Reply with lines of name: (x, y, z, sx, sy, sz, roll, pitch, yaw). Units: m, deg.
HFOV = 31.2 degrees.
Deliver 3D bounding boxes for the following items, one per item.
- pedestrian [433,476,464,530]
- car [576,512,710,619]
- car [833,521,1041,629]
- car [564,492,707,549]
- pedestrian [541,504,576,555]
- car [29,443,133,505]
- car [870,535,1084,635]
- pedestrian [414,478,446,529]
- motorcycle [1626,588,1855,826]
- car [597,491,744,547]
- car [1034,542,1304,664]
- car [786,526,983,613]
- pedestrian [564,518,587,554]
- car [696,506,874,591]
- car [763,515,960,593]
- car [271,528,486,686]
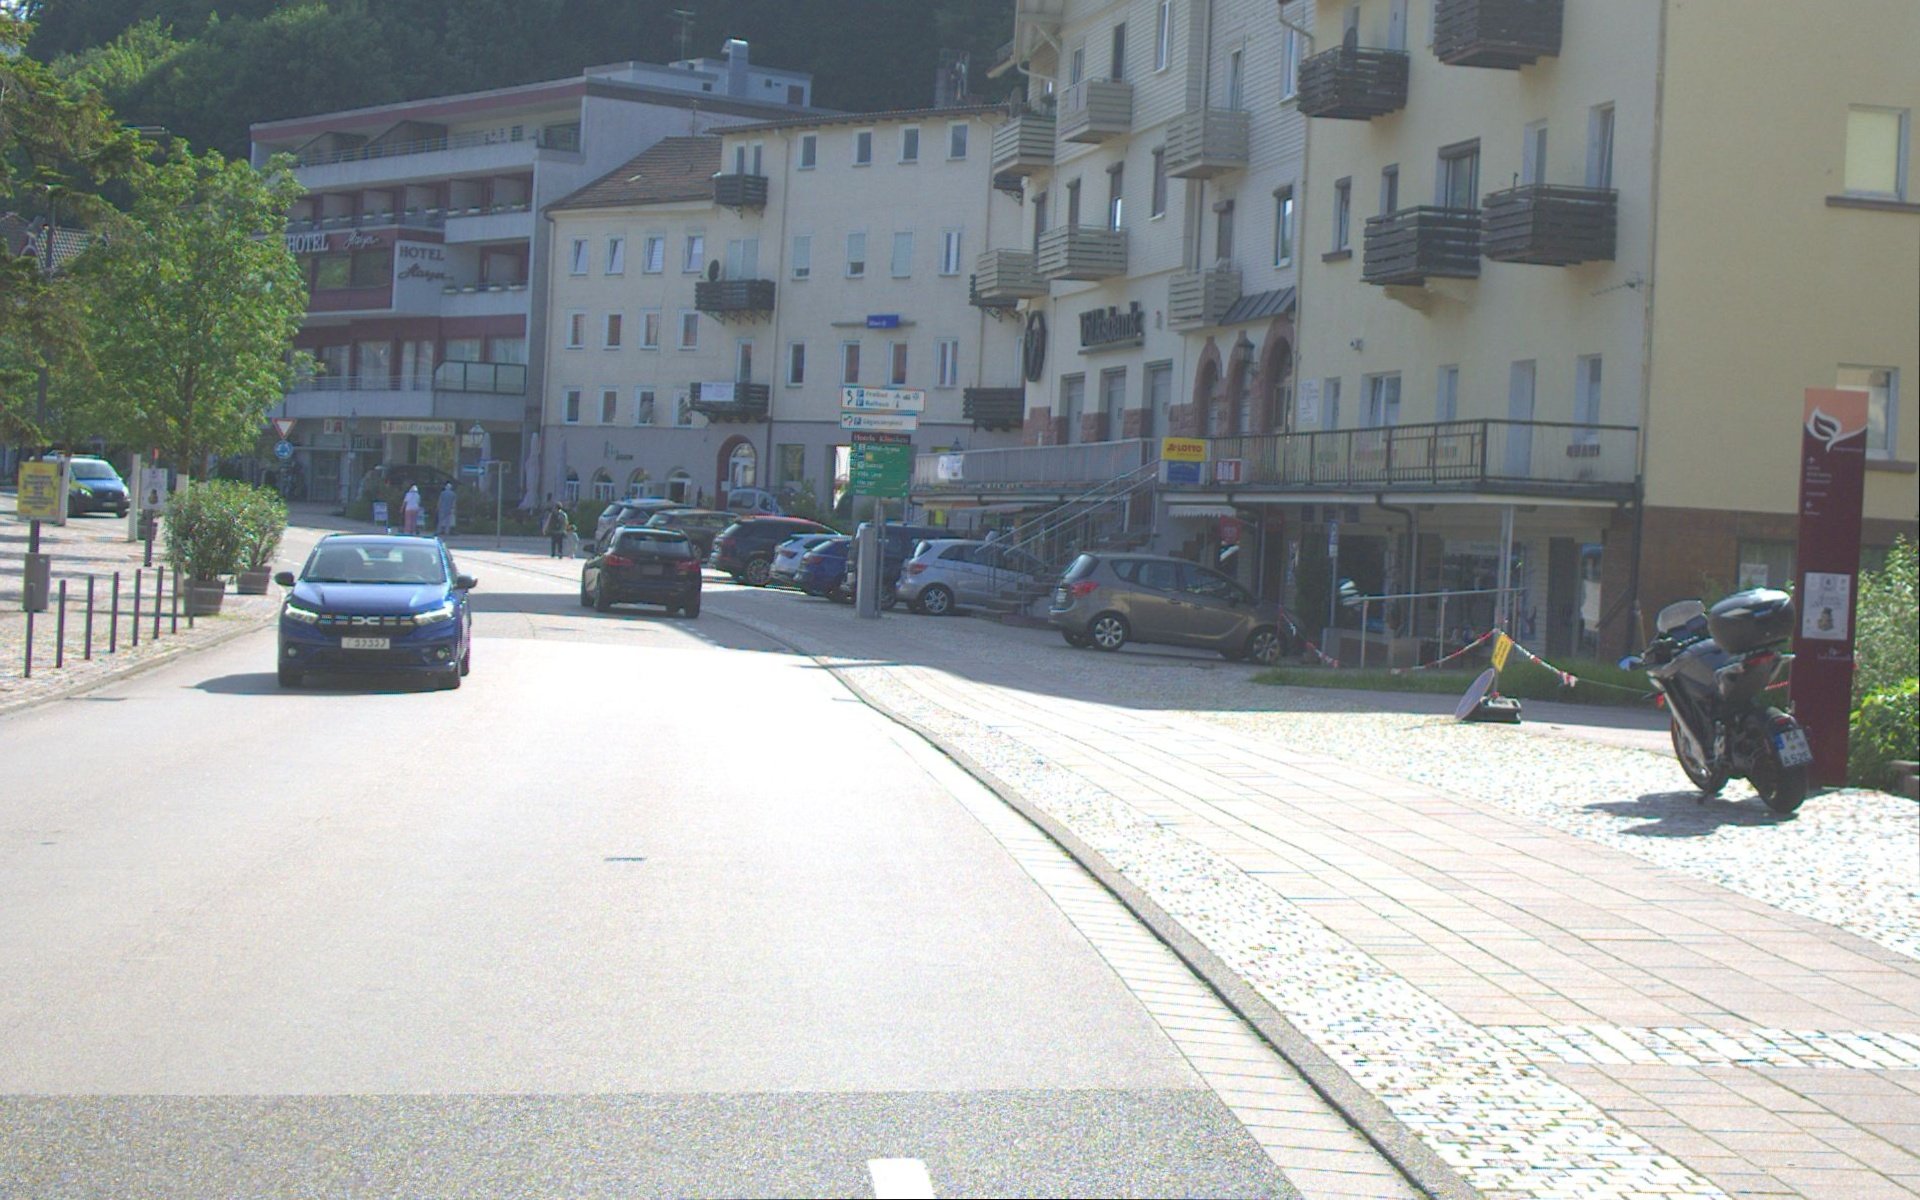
pedestrian: (-16.793, -3.190, 112.791, 0.669, 1.722, 0.707, 3, 1, -33)
car: (-5.613, -0.630, 60.478, 1.726, 1.569, 3.755, 4, 3, -14)
car: (-0.497, -0.526, 71.449, 3.908, 1.798, 1.858, 6, 0, -10)
car: (-9.732, -2.397, 103.221, 3.861, 1.607, 1.773, 0, 4, -30)
pedestrian: (-11.394, -2.000, 97.554, 0.735, 1.437, 0.633, 0, 3, -38)
car: (-28.964, -4.161, 113.173, 1.854, 1.946, 5.018, 1, 2, -32)
car: (0.321, -0.309, 68.927, 3.908, 1.583, 1.775, 6, 1, -10)
pedestrian: (-17.250, -3.138, 111.922, 0.757, 1.588, 0.628, 3, 1, -33)
motorcycle: (4.589, 0.598, 20.362, 0.697, 1.292, 2.212, 0, 1, -4)
car: (-8.458, -2.366, 100.427, 3.861, 1.544, 1.773, 0, 4, -30)
car: (3.346, 0.044, 55.320, 3.858, 1.549, 1.761, 5, 1, -13)
car: (-1.638, -0.660, 74.137, 3.908, 1.456, 1.736, 5, 1, -10)
pedestrian: (-10.943, -1.815, 97.888, 0.417, 0.998, 0.531, 0, 3, -38)
car: (-4.365, -1.289, 85.347, 4.083, 1.660, 1.773, 6, 1, -10)
car: (-2.324, -1.068, 80.652, 4.355, 1.456, 1.773, 5, 0, -8)
car: (-5.801, 0.025, 34.678, 1.741, 1.457, 4.188, 1, 1, -4)
